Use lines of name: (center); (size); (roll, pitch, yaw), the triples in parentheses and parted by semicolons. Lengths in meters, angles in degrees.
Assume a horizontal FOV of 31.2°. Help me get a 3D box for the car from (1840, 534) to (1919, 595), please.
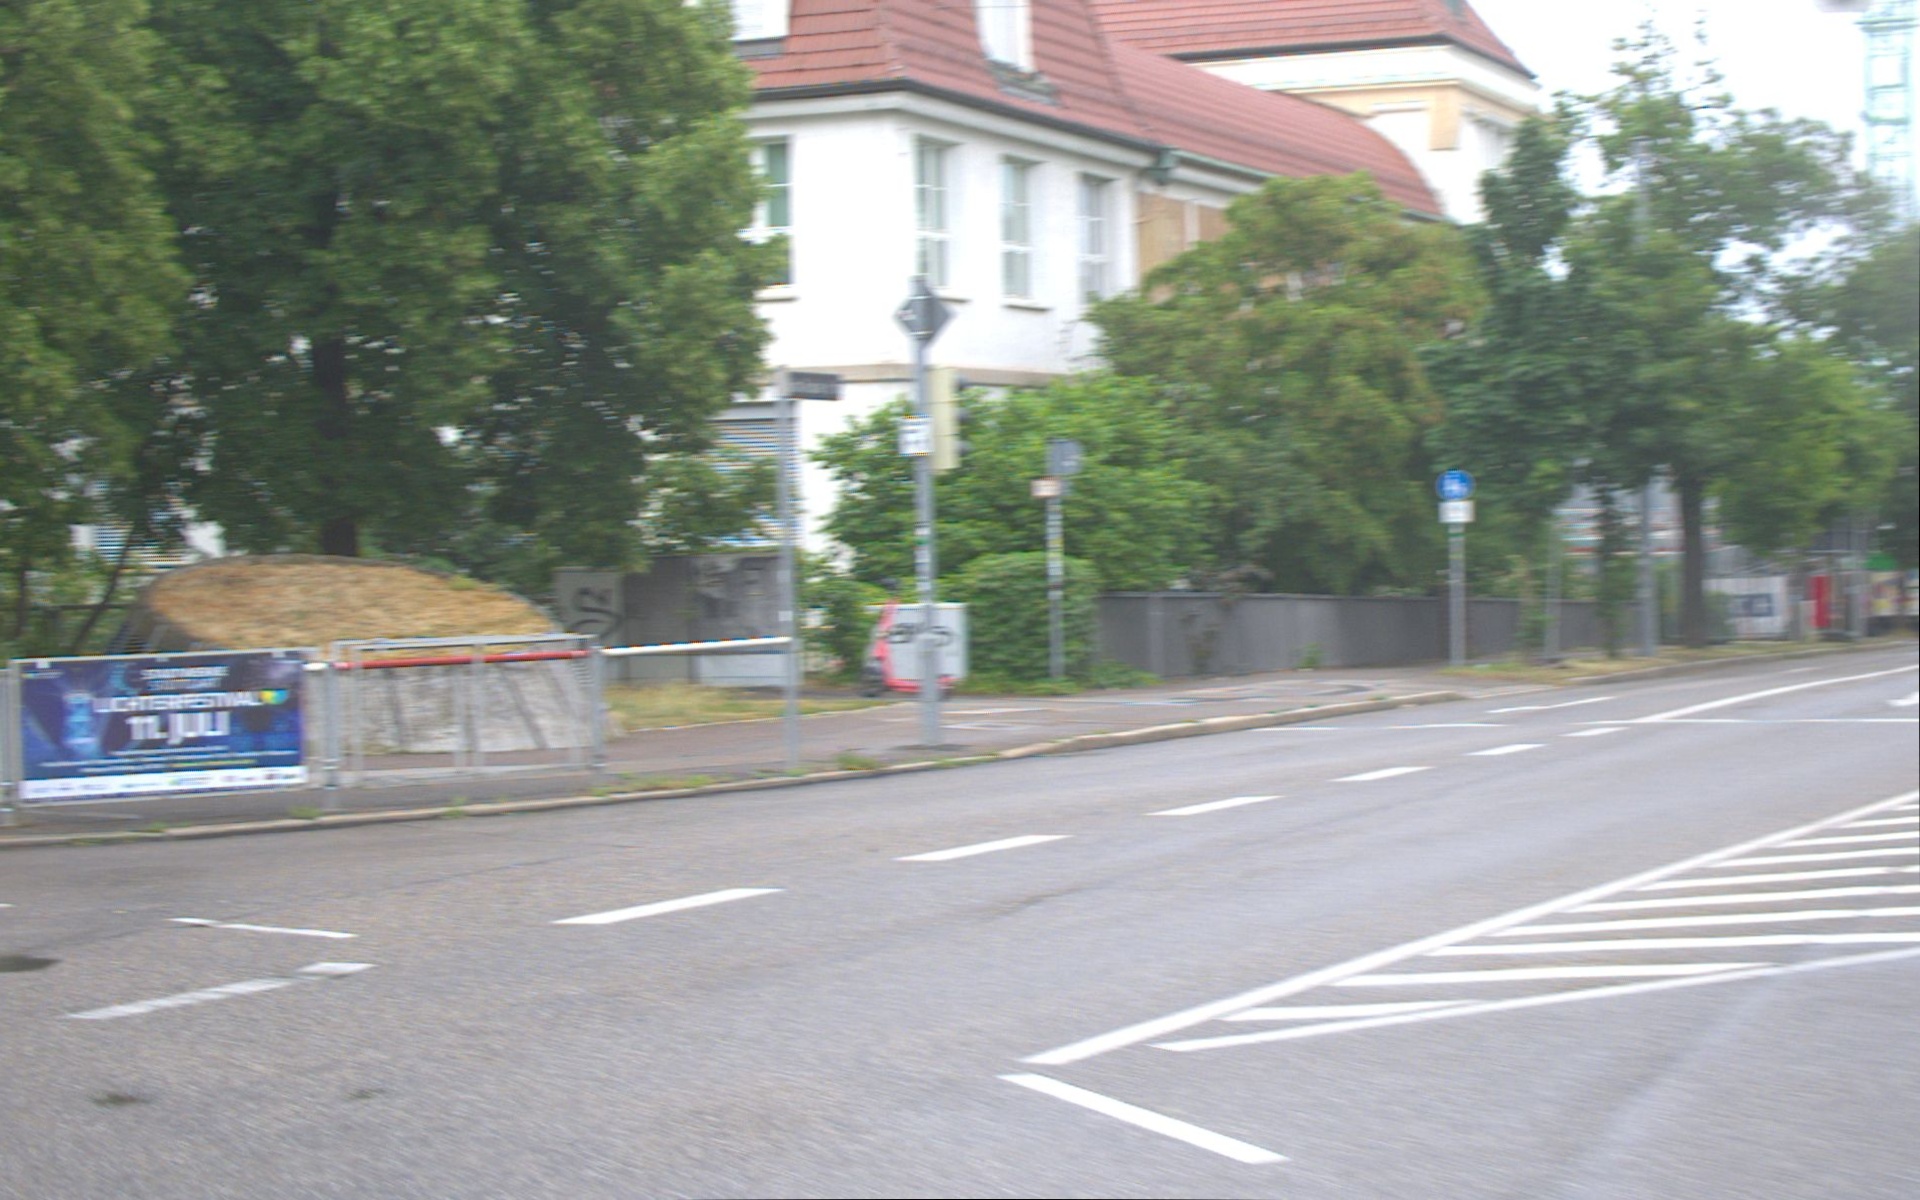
car: (31.423, -1.212, 117.225); (1.996, 2.007, 3.995); (0, 1, 26)

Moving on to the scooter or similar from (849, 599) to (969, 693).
scooter or similar: (-0.522, 0.468, 35.071); (1.086, 0.951, 0.539); (1, 0, -31)
